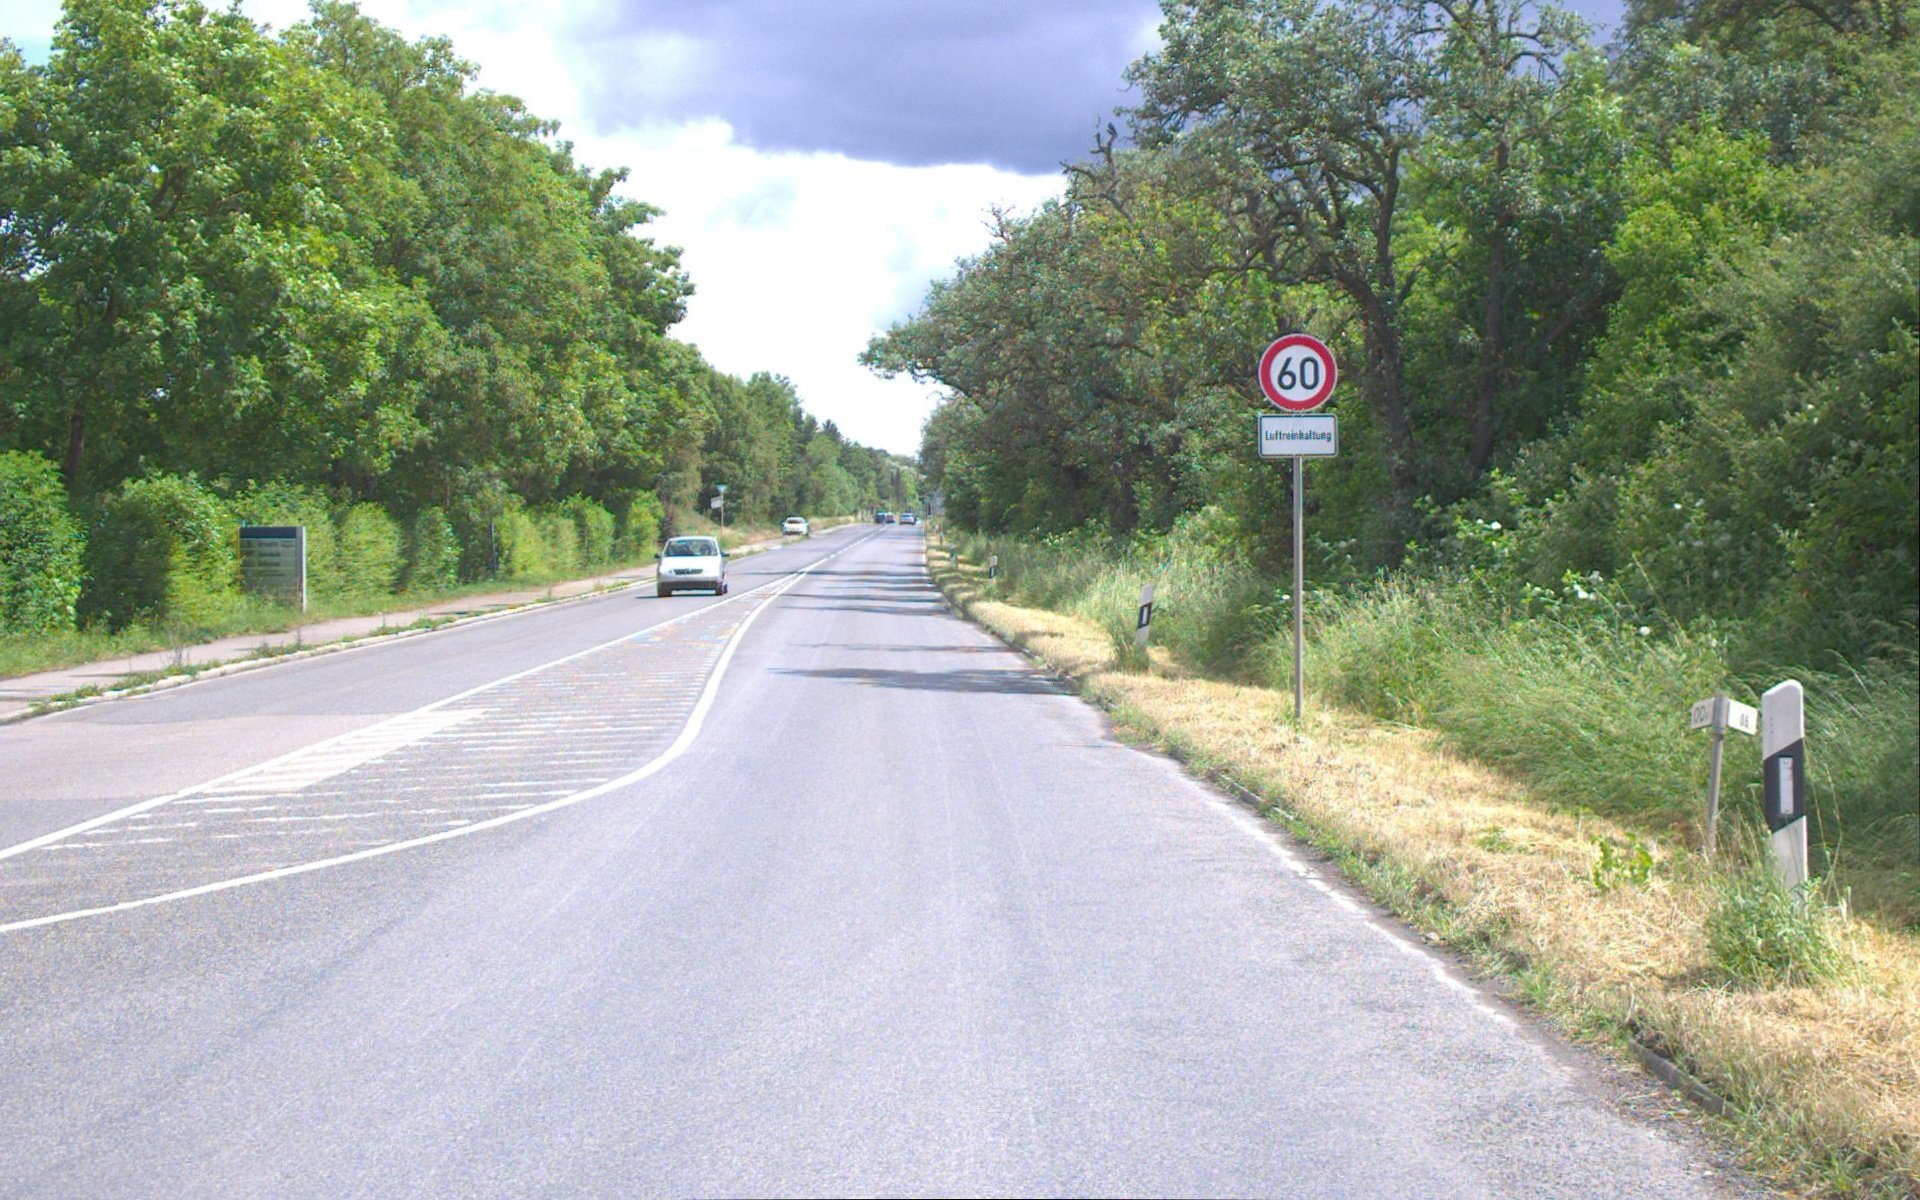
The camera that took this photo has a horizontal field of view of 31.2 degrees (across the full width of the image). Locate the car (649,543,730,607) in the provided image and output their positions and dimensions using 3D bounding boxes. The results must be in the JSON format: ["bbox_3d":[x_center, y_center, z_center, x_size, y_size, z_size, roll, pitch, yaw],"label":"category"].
[{"bbox_3d":[-6.520,-0.619,83.104,1.660,1.427,3.693,-2,2,0],"label":"car"}]
